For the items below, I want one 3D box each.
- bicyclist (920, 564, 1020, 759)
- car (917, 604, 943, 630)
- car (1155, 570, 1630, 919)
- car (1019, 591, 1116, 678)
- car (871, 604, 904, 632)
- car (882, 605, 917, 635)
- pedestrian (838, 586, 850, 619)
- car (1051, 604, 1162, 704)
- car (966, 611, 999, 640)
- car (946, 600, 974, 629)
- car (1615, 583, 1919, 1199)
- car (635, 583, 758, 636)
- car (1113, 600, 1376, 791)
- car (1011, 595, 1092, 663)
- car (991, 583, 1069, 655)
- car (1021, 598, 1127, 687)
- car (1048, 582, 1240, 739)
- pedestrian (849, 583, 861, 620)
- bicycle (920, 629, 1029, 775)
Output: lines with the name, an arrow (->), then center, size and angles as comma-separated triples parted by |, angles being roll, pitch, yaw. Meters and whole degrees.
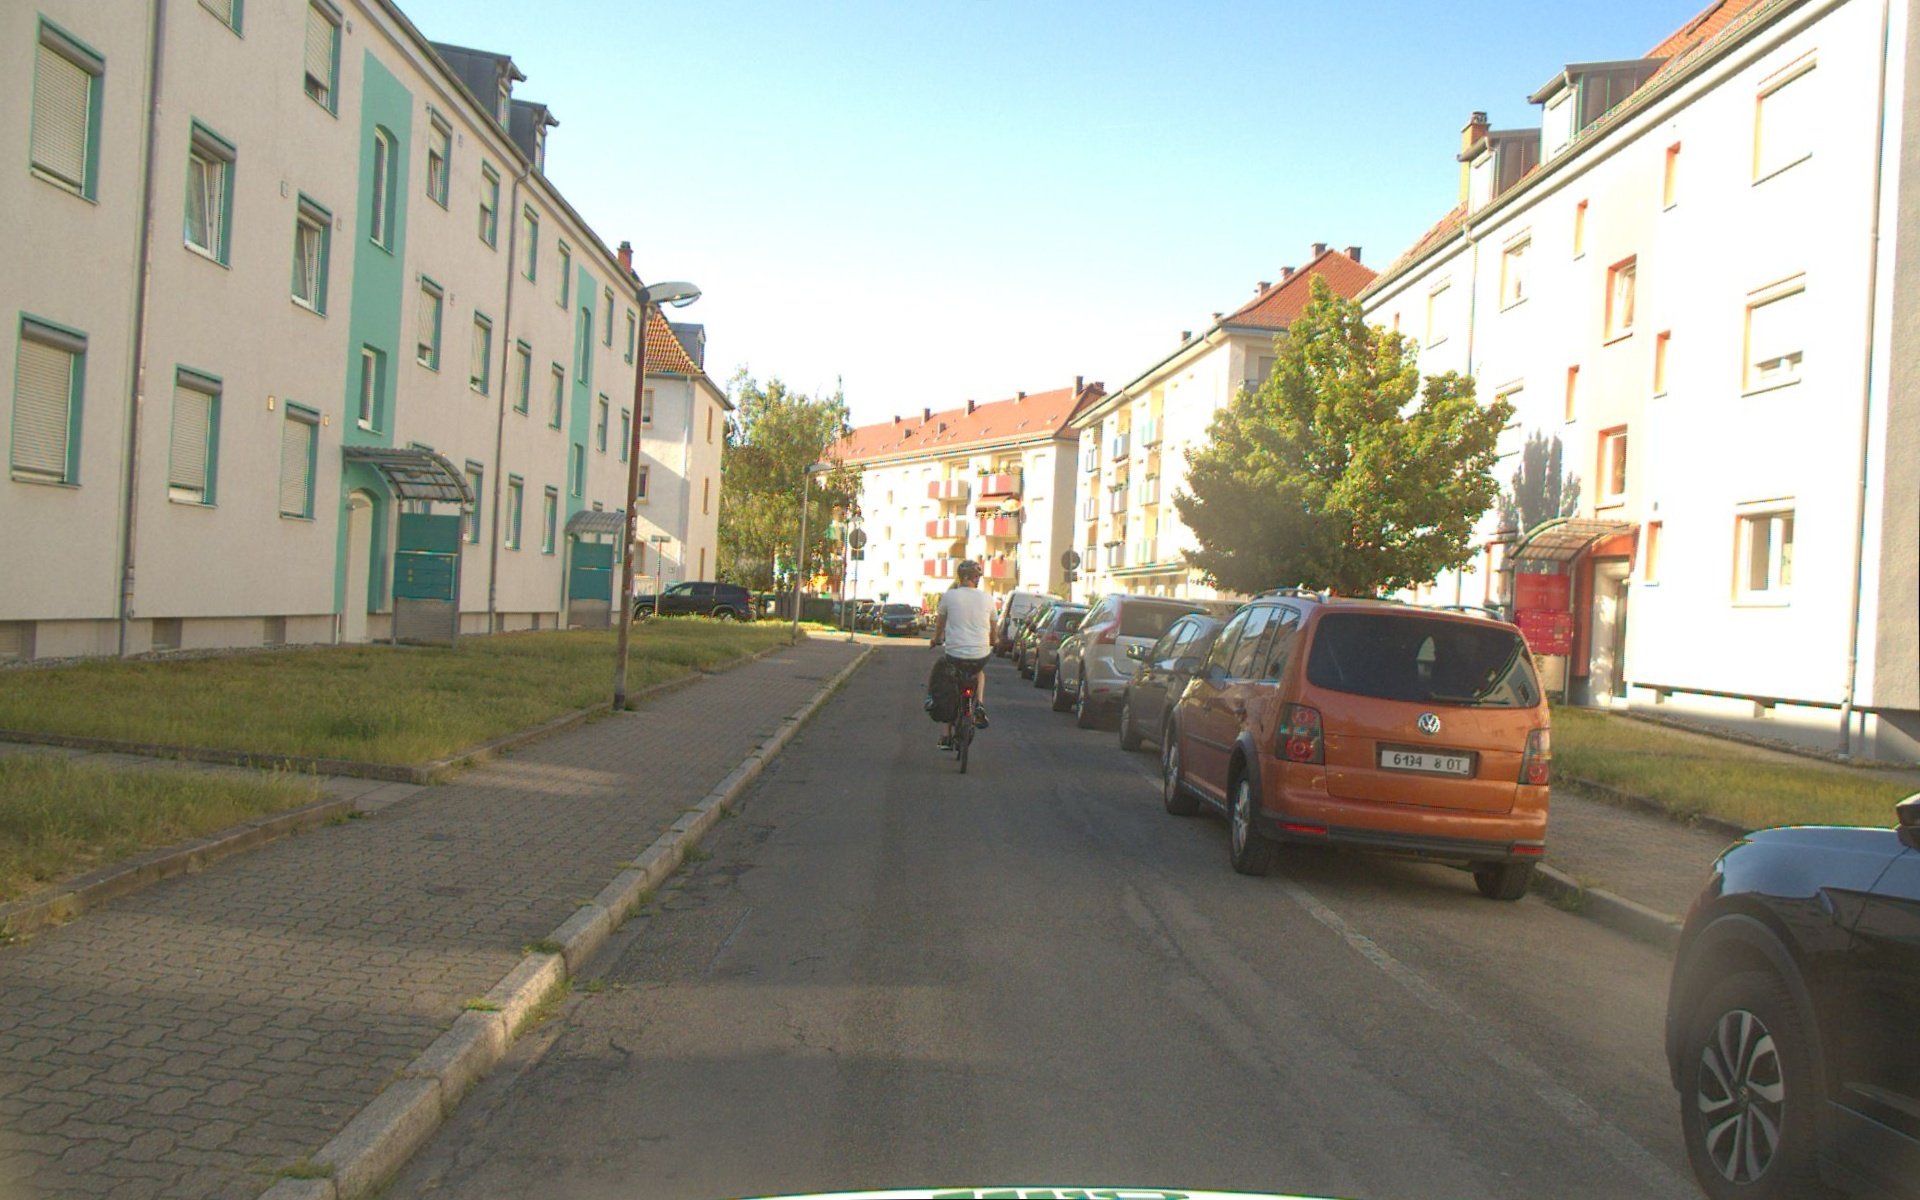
bicyclist -> 0.077, 0.534, 14.888 | 0.793, 1.672, 0.898 | 2, 0, -4
car -> -1.968, 1.069, 106.979 | 1.440, 1.542, 3.075 | 4, 0, -3
car -> 2.539, 0.765, 10.819 | 1.824, 1.697, 4.126 | 5, 0, -1
car -> 2.187, 0.680, 34.354 | 1.528, 1.604, 3.364 | 4, 0, -3
car -> -3.616, 0.877, 82.175 | 1.441, 1.358, 3.137 | -1, 0, -5
car -> -2.848, 0.918, 77.823 | 1.441, 1.359, 3.137 | 0, 0, -6
pedestrian -> -5.179, 0.102, 73.946 | 0.425, 1.452, 0.543 | 2, 0, -2
car -> 2.321, 0.824, 26.801 | 1.363, 1.427, 3.243 | 4, 0, -1
car -> 1.166, 1.348, 87.492 | 1.440, 1.358, 3.139 | 4, 0, -3
car -> -0.005, 0.821, 94.447 | 1.354, 1.523, 3.075 | 4, 0, -3
car -> 2.967, 0.843, 2.918 | 1.678, 1.623, 4.396 | 4, 0, -2
car -> -9.358, 0.327, 58.893 | 4.149, 1.667, 1.581 | 3, 0, -6
car -> 2.655, 0.832, 16.280 | 1.586, 1.485, 3.838 | 5, 0, -4
car -> 2.186, 0.673, 40.196 | 1.528, 1.478, 3.364 | 4, 0, -3
car -> 1.852, 0.480, 44.904 | 1.641, 1.769, 3.940 | 4, 0, -3
car -> 2.055, 0.736, 30.650 | 1.527, 1.436, 3.932 | 4, 0, -1
car -> 2.261, 0.683, 21.399 | 1.667, 1.699, 4.377 | 4, 0, -3
pedestrian -> -4.688, 0.062, 73.891 | 0.425, 1.602, 0.543 | 2, 0, -2
bicycle -> 0.096, 0.866, 14.778 | 0.792, 1.148, 2.100 | 2, 0, -4
